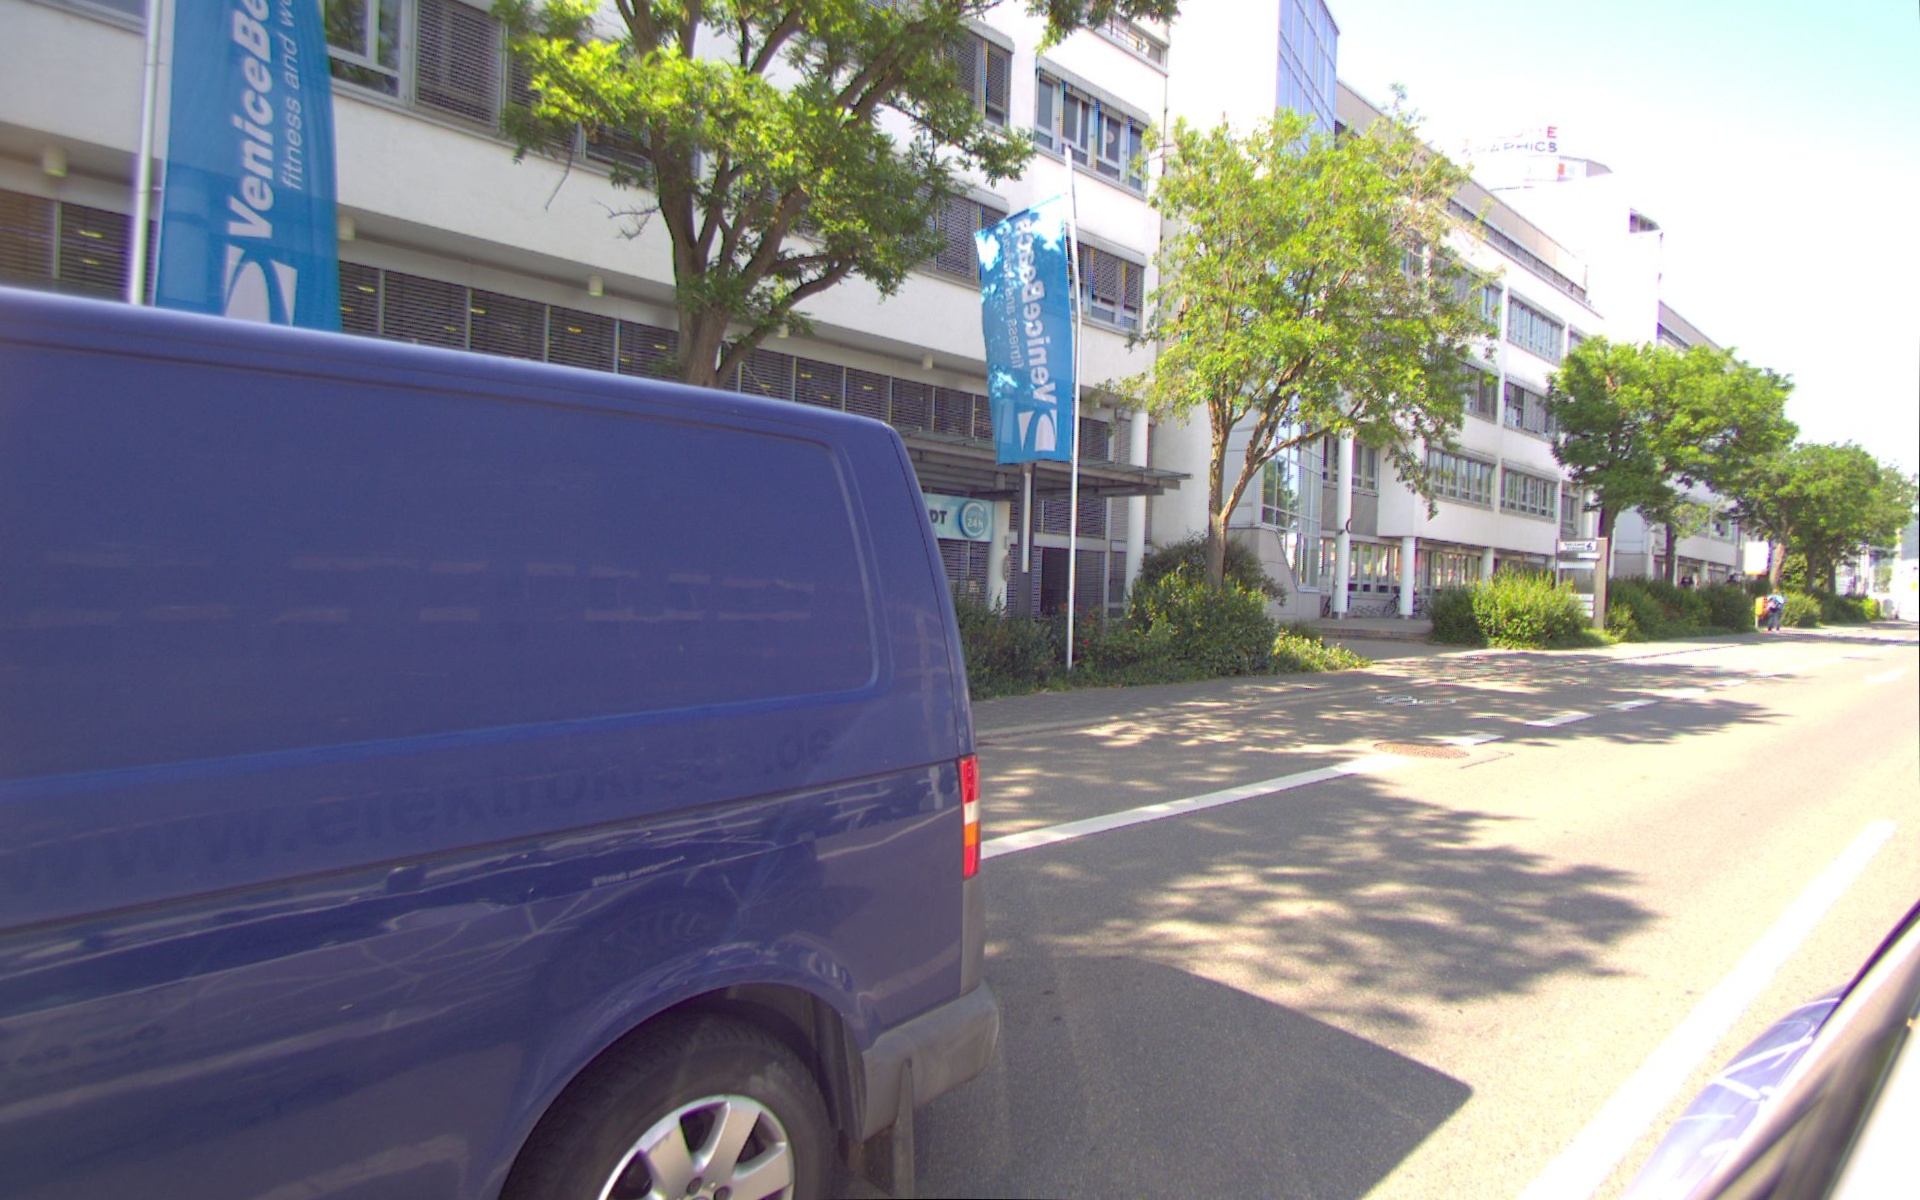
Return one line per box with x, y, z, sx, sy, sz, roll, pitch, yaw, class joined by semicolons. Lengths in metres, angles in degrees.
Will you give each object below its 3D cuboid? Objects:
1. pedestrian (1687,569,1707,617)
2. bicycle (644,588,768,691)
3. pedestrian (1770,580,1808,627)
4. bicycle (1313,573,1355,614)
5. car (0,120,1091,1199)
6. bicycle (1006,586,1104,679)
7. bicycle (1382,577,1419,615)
39.737;-0.393;54.551;0.704;2.581;0.716;0;1;-43;pedestrian
-3.628;0.531;14.392;1.868;1.346;0.501;2;1;30;bicycle
35.188;0.122;42.975;1.267;1.909;0.942;0;4;-41;pedestrian
12.909;-0.230;34.904;1.852;1.371;0.506;0;1;-41;bicycle
-2.150;0.405;1.621;4.806;1.972;1.997;-1;2;-41;car
1.493;0.471;15.604;0.504;1.346;1.856;2;1;41;bicycle
16.350;-0.163;37.527;1.852;1.371;0.506;0;1;-41;bicycle
